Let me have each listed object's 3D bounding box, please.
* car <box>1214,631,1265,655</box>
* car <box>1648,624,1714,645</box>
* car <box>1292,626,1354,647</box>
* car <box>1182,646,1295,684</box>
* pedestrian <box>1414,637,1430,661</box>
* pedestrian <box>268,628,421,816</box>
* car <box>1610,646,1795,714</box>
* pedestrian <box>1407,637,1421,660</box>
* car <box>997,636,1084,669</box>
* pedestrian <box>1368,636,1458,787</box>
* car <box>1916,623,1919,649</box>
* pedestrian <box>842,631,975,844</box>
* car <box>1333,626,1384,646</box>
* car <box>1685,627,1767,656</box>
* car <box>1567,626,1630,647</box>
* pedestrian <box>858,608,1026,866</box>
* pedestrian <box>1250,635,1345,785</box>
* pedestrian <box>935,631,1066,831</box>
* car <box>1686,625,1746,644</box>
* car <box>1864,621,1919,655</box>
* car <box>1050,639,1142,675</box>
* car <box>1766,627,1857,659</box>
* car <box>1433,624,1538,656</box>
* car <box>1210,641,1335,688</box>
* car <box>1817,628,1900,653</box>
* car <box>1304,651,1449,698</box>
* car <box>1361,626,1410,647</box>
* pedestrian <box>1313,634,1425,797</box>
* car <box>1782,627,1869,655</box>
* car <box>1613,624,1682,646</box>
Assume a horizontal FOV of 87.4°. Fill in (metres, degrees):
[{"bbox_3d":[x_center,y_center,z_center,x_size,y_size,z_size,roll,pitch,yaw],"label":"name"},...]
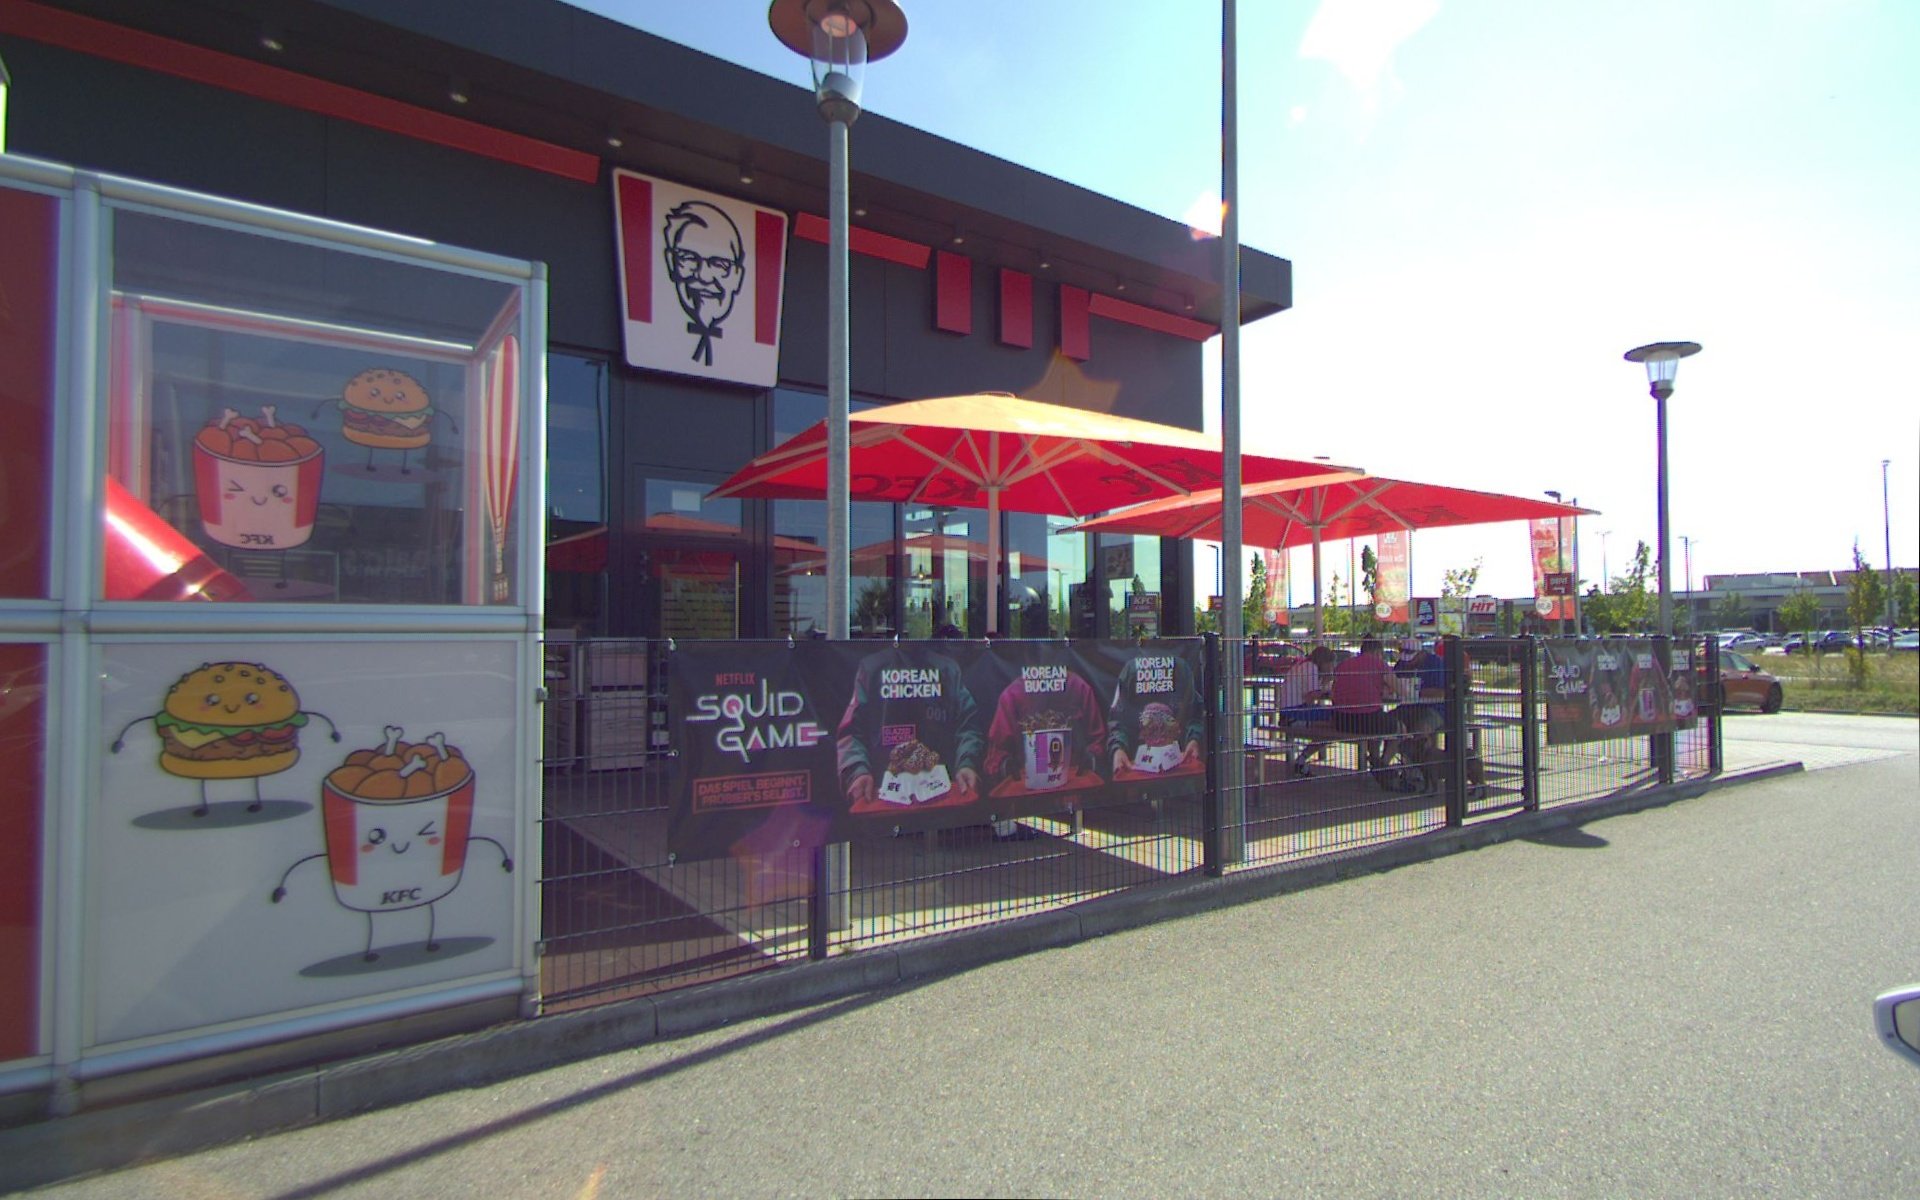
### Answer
[{"bbox_3d":[22.644,3.453,81.640,1.968,1.870,4.391,1,-2,-17],"label":"car"},{"bbox_3d":[65.804,3.159,91.782,1.936,1.880,4.529,1,-2,-35],"label":"car"},{"bbox_3d":[39.887,4.049,110.373,6.220,2.267,2.802,1,-2,-22],"label":"car"},{"bbox_3d":[10.926,2.533,39.345,4.150,1.428,1.763,2,-3,-25],"label":"car"},{"bbox_3d":[31.660,3.363,68.867,0.680,1.621,0.755,0,-1,-9],"label":"pedestrian"},{"bbox_3d":[-4.710,0.878,7.694,0.935,1.330,0.748,1,-2,-34],"label":"pedestrian"},{"bbox_3d":[17.567,1.863,23.741,4.298,1.488,1.821,2,-3,-27],"label":"car"},{"bbox_3d":[31.543,3.370,69.850,0.614,1.576,0.666,0,-1,-9],"label":"pedestrian"},{"bbox_3d":[4.532,2.975,56.733,4.517,1.783,1.889,2,-2,-18],"label":"car"},{"bbox_3d":[4.077,0.970,9.040,0.604,1.290,0.621,-1,-2,39],"label":"pedestrian"},{"bbox_3d":[70.367,2.537,70.572,1.936,1.880,4.362,1,-2,-35],"label":"car"},{"bbox_3d":[-0.353,0.868,6.691,0.678,1.322,0.661,1,-2,-27],"label":"pedestrian"},{"bbox_3d":[41.676,3.780,105.056,5.110,2.040,1.987,1,-2,-26],"label":"car"},{"bbox_3d":[49.936,2.697,65.515,4.211,1.880,1.996,1,-2,-12],"label":"car"},{"bbox_3d":[63.580,3.596,100.051,2.065,2.040,4.877,1,-2,-39],"label":"car"},{"bbox_3d":[-0.116,0.764,5.979,0.797,1.405,0.661,1,-2,-27],"label":"pedestrian"},{"bbox_3d":[3.066,0.969,9.130,0.675,1.290,0.549,-1,-2,39],"label":"pedestrian"},{"bbox_3d":[0.279,0.883,7.112,0.703,1.322,0.661,1,-2,-27],"label":"pedestrian"},{"bbox_3d":[75.190,3.437,99.926,1.936,1.880,4.362,1,-2,-35],"label":"car"},{"bbox_3d":[52.771,2.100,55.579,4.327,1.880,1.951,1,-2,-12],"label":"car"},{"bbox_3d":[6.848,2.868,50.716,4.271,1.725,1.885,2,-3,-23],"label":"car"},{"bbox_3d":[51.416,2.590,60.675,4.327,1.880,1.951,1,-2,-12],"label":"car"},{"bbox_3d":[30.646,2.324,58.748,1.966,1.754,5.181,1,-2,-31],"label":"car"},{"bbox_3d":[11.537,2.364,37.086,4.171,1.659,1.940,2,-3,-23],"label":"car"},{"bbox_3d":[67.715,3.030,75.786,1.936,1.880,4.362,1,-2,-35],"label":"car"},{"bbox_3d":[13.585,2.417,32.762,4.536,1.431,1.731,2,-3,-23],"label":"car"},{"bbox_3d":[42.431,3.612,100.197,4.019,2.040,1.996,1,-2,-12],"label":"car"},{"bbox_3d":[3.491,0.939,8.562,0.675,1.290,0.838,-1,-2,38],"label":"pedestrian"},{"bbox_3d":[61.234,2.892,71.129,1.936,1.880,4.362,1,-2,-35],"label":"car"},{"bbox_3d":[59.516,2.993,86.994,1.936,1.880,4.529,1,-2,-35],"label":"car"}]
